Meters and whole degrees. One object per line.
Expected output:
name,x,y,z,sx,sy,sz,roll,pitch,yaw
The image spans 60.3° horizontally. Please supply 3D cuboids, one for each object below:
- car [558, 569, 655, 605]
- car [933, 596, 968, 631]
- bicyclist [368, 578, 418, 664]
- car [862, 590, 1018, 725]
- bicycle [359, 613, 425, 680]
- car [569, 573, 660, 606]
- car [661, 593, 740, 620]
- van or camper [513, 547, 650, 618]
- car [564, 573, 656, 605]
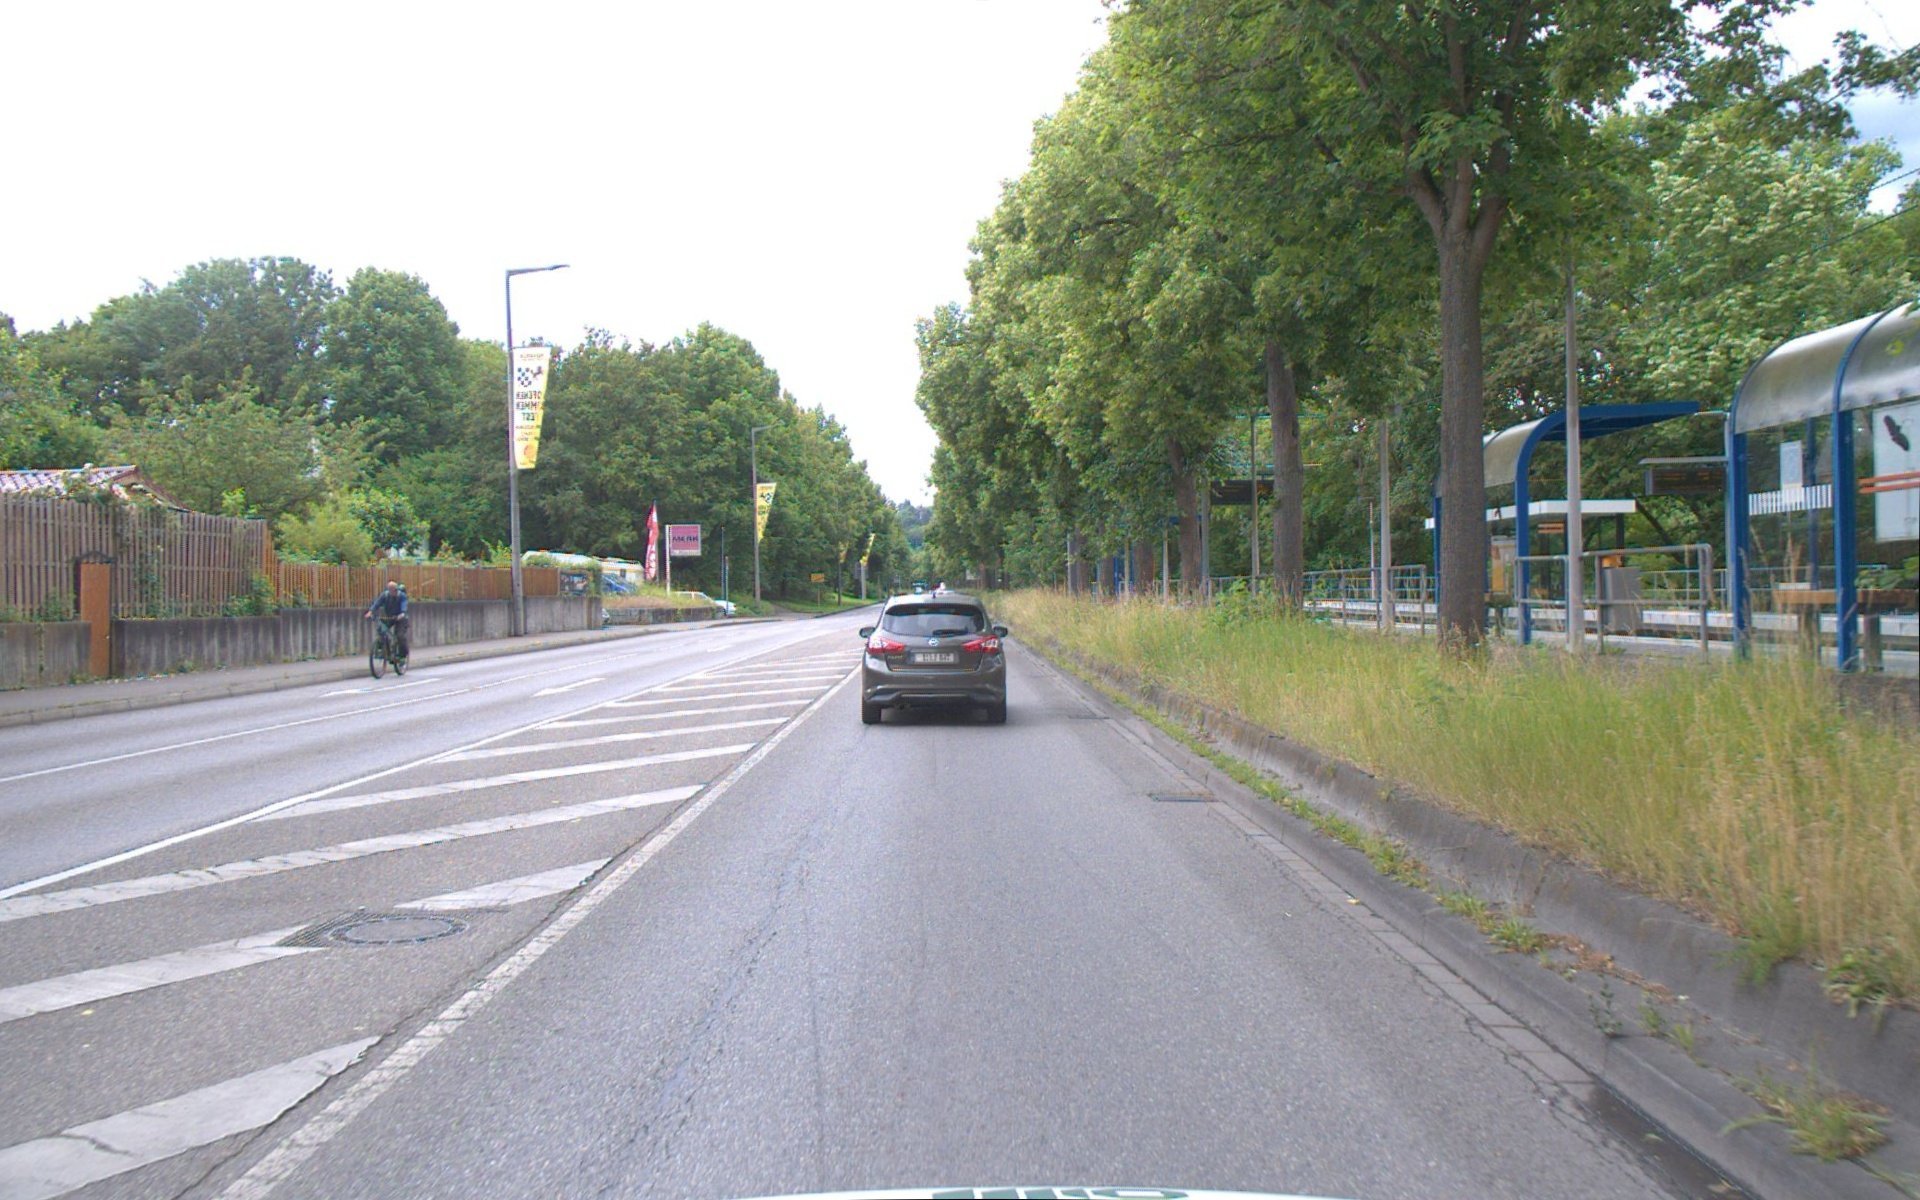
car,-15.989,-0.577,74.945,3.903,1.523,1.860,1,-1,4
car,-0.410,0.607,75.049,1.472,1.555,3.672,0,0,1
bicyclist,-10.423,0.377,30.448,0.629,1.562,0.977,1,0,-5
car,-0.191,0.667,21.005,1.799,1.555,3.929,0,0,1
bicycle,-10.449,0.833,30.508,0.629,1.165,2.145,1,0,-5
car,-16.439,-0.487,78.766,3.903,1.518,1.648,1,-1,4
car,-14.881,0.359,95.148,4.287,1.466,1.960,1,0,-3
van or camper,-21.641,-0.993,94.853,6.997,3.429,2.796,5,0,-1
car,-16.230,-0.513,76.811,3.903,1.435,1.534,1,-1,4
